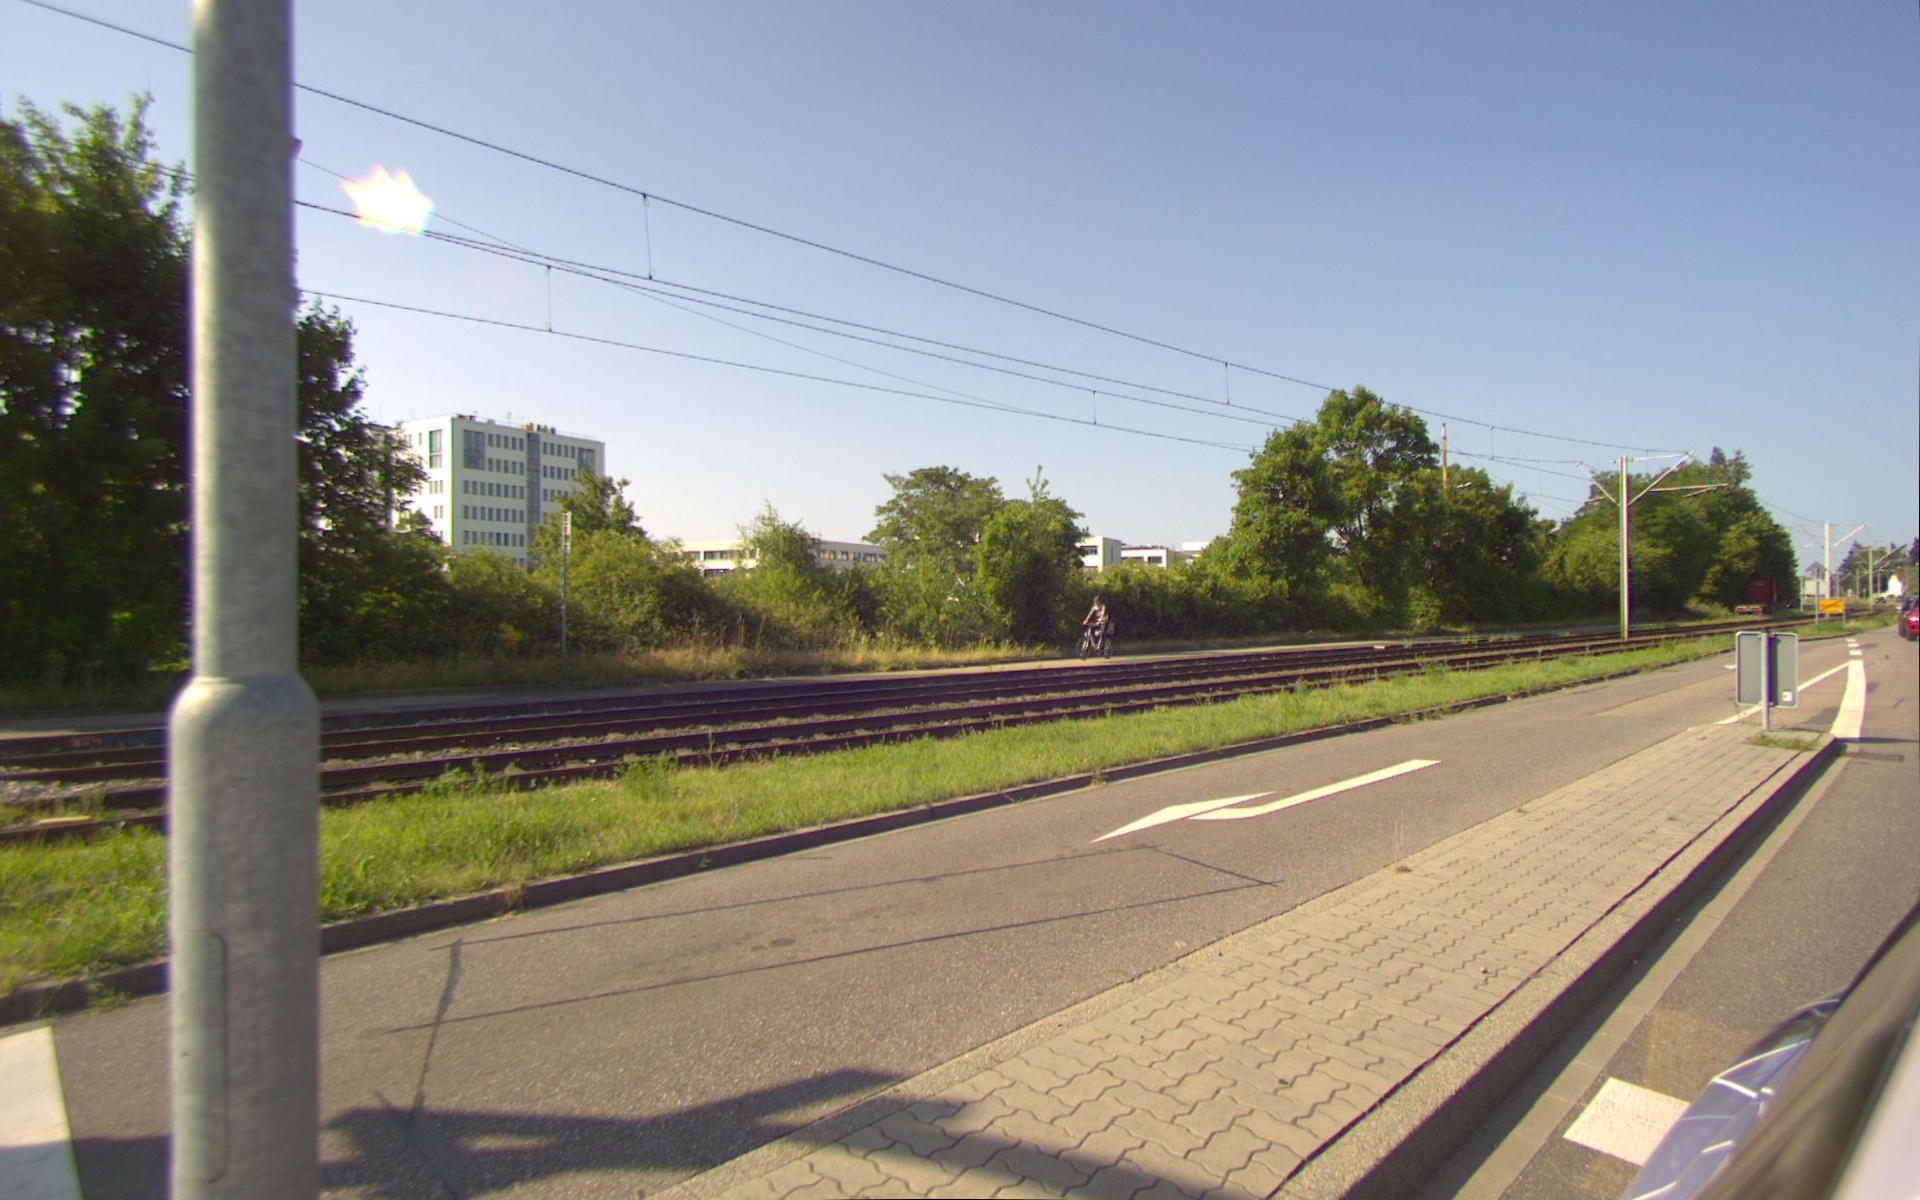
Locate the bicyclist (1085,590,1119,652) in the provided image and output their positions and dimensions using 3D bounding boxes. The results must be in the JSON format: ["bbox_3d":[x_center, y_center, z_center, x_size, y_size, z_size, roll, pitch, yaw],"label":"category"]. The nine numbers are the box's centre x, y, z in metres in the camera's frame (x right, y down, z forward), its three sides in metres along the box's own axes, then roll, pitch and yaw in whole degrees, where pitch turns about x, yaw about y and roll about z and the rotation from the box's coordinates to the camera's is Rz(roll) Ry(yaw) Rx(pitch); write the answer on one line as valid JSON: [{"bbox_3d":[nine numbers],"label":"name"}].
[{"bbox_3d":[4.261,0.629,30.317,0.706,1.831,0.706,0,-1,-44],"label":"bicyclist"}]

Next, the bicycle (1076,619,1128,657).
[{"bbox_3d":[4.250,1.111,30.278,0.545,1.060,1.843,-1,0,45],"label":"bicycle"}]
